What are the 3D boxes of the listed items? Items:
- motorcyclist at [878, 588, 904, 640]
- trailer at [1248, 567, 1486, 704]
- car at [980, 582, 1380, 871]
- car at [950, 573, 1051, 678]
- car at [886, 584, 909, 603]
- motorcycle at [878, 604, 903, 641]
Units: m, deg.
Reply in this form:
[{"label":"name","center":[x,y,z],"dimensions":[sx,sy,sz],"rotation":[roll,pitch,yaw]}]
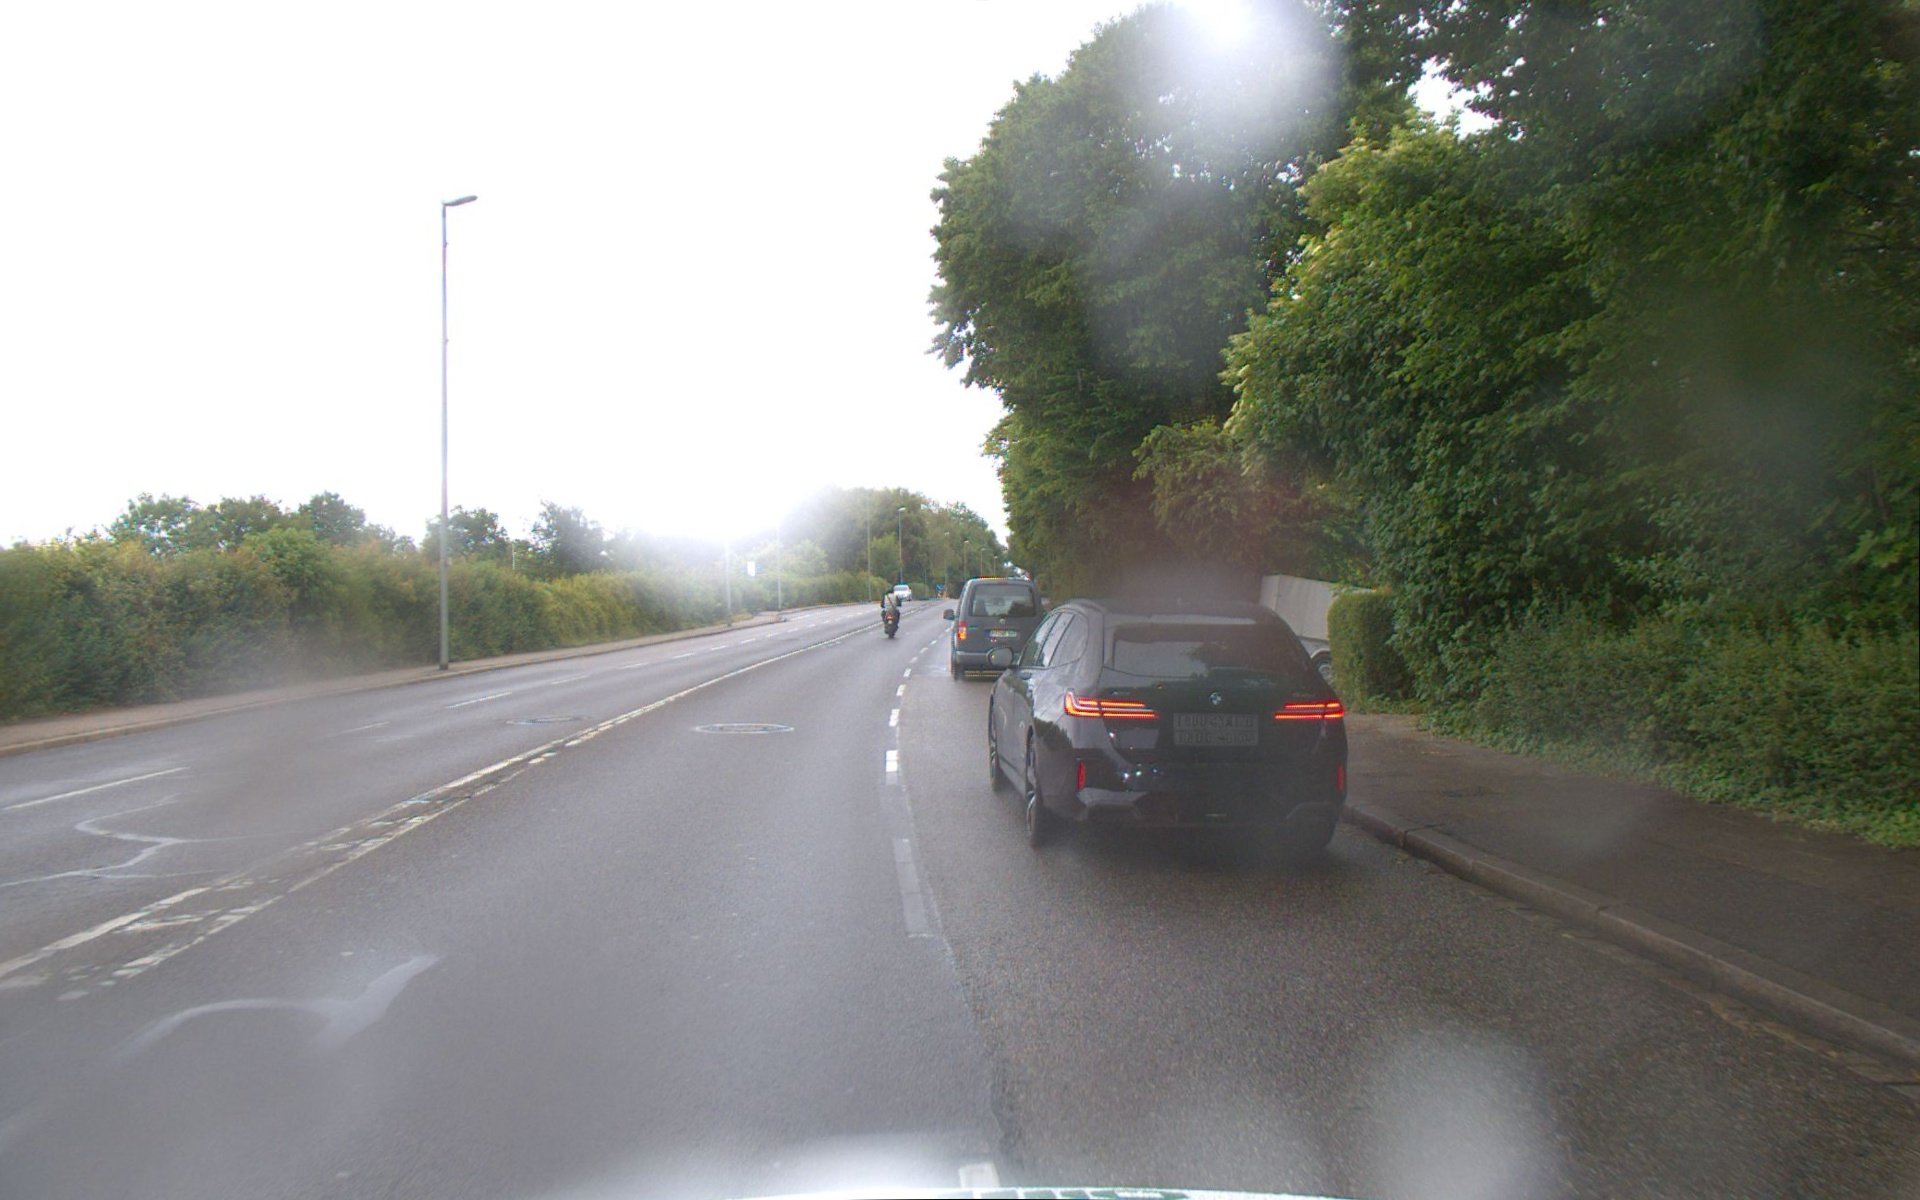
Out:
[{"label":"motorcyclist","center":[-2.266,0.453,54.364],"dimensions":[0.827,1.675,0.468],"rotation":[0,1,2]},{"label":"trailer","center":[6.357,0.537,26.003],"dimensions":[3.283,1.675,1.198],"rotation":[8,0,-1]},{"label":"car","center":[1.244,0.704,10.904],"dimensions":[1.731,1.563,3.667],"rotation":[1,0,-7]},{"label":"car","center":[0.706,0.424,31.314],"dimensions":[1.731,1.841,3.904],"rotation":[0,1,-1]},{"label":"car","center":[-5.877,-0.598,155.293],"dimensions":[1.717,1.691,3.846],"rotation":[0,1,-10]},{"label":"motorcycle","center":[-2.274,0.733,54.469],"dimensions":[0.726,1.139,1.427],"rotation":[0,1,1]}]
